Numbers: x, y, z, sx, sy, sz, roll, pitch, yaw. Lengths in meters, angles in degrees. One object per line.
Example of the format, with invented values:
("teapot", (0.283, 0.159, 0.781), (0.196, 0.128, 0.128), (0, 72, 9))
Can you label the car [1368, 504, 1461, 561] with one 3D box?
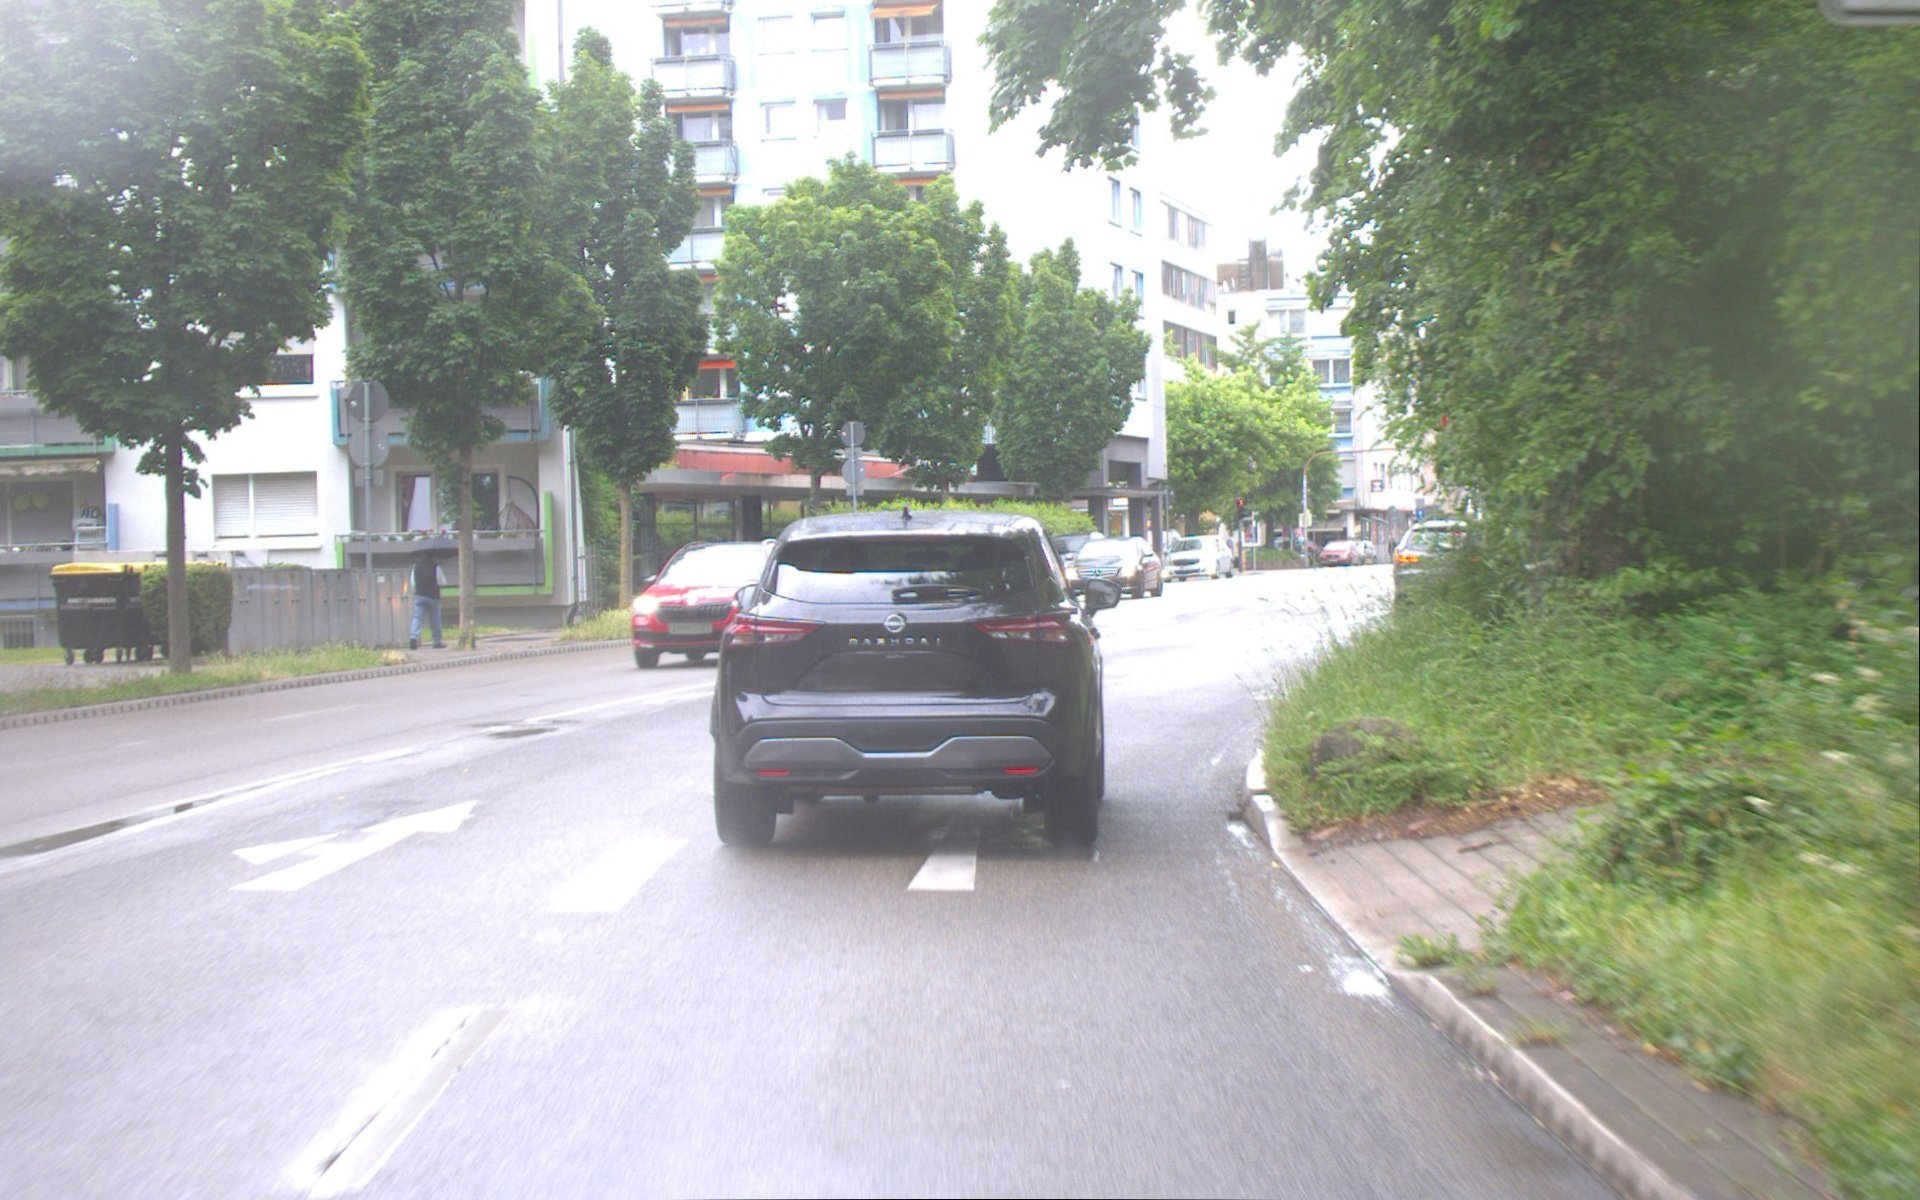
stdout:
("car", (12.505, -1.860, 94.382), (2.067, 1.459, 4.584), (-1, 2, 13))

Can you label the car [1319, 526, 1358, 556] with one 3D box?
("car", (19.769, -3.091, 179.504), (1.673, 1.473, 3.606), (-3, 1, 11))

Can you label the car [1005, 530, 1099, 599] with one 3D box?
("car", (2.430, -0.940, 89.564), (1.874, 1.597, 4.463), (-3, 1, 8))

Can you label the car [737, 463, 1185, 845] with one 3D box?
("car", (-0.039, 0.202, 17.447), (1.959, 1.647, 4.000), (-2, 1, -1))

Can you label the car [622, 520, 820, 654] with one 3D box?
("car", (-2.954, -0.205, 43.324), (1.676, 1.557, 4.141), (1, 2, 8))

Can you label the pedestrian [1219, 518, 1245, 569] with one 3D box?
("pedestrian", (10.869, -2.253, 137.259), (0.940, 2.007, 0.886), (-3, 1, 4))

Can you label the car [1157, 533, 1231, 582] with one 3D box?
("car", (7.464, -1.374, 109.343), (1.874, 1.386, 4.625), (-3, 1, 9))

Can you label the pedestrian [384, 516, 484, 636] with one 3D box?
("pedestrian", (-8.133, -0.387, 53.243), (1.135, 1.797, 1.262), (-2, 1, 9))

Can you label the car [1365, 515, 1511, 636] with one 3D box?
("car", (8.479, -0.460, 60.695), (1.995, 2.007, 3.997), (-1, 1, 16))

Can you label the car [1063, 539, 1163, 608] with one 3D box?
("car", (3.473, -0.622, 77.552), (1.841, 1.380, 4.359), (-3, 1, 7))

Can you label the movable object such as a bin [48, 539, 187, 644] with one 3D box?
("movable object such as a bin", (-11.289, -0.124, 46.152), (1.157, 1.327, 1.966), (-2, 1, 7))
